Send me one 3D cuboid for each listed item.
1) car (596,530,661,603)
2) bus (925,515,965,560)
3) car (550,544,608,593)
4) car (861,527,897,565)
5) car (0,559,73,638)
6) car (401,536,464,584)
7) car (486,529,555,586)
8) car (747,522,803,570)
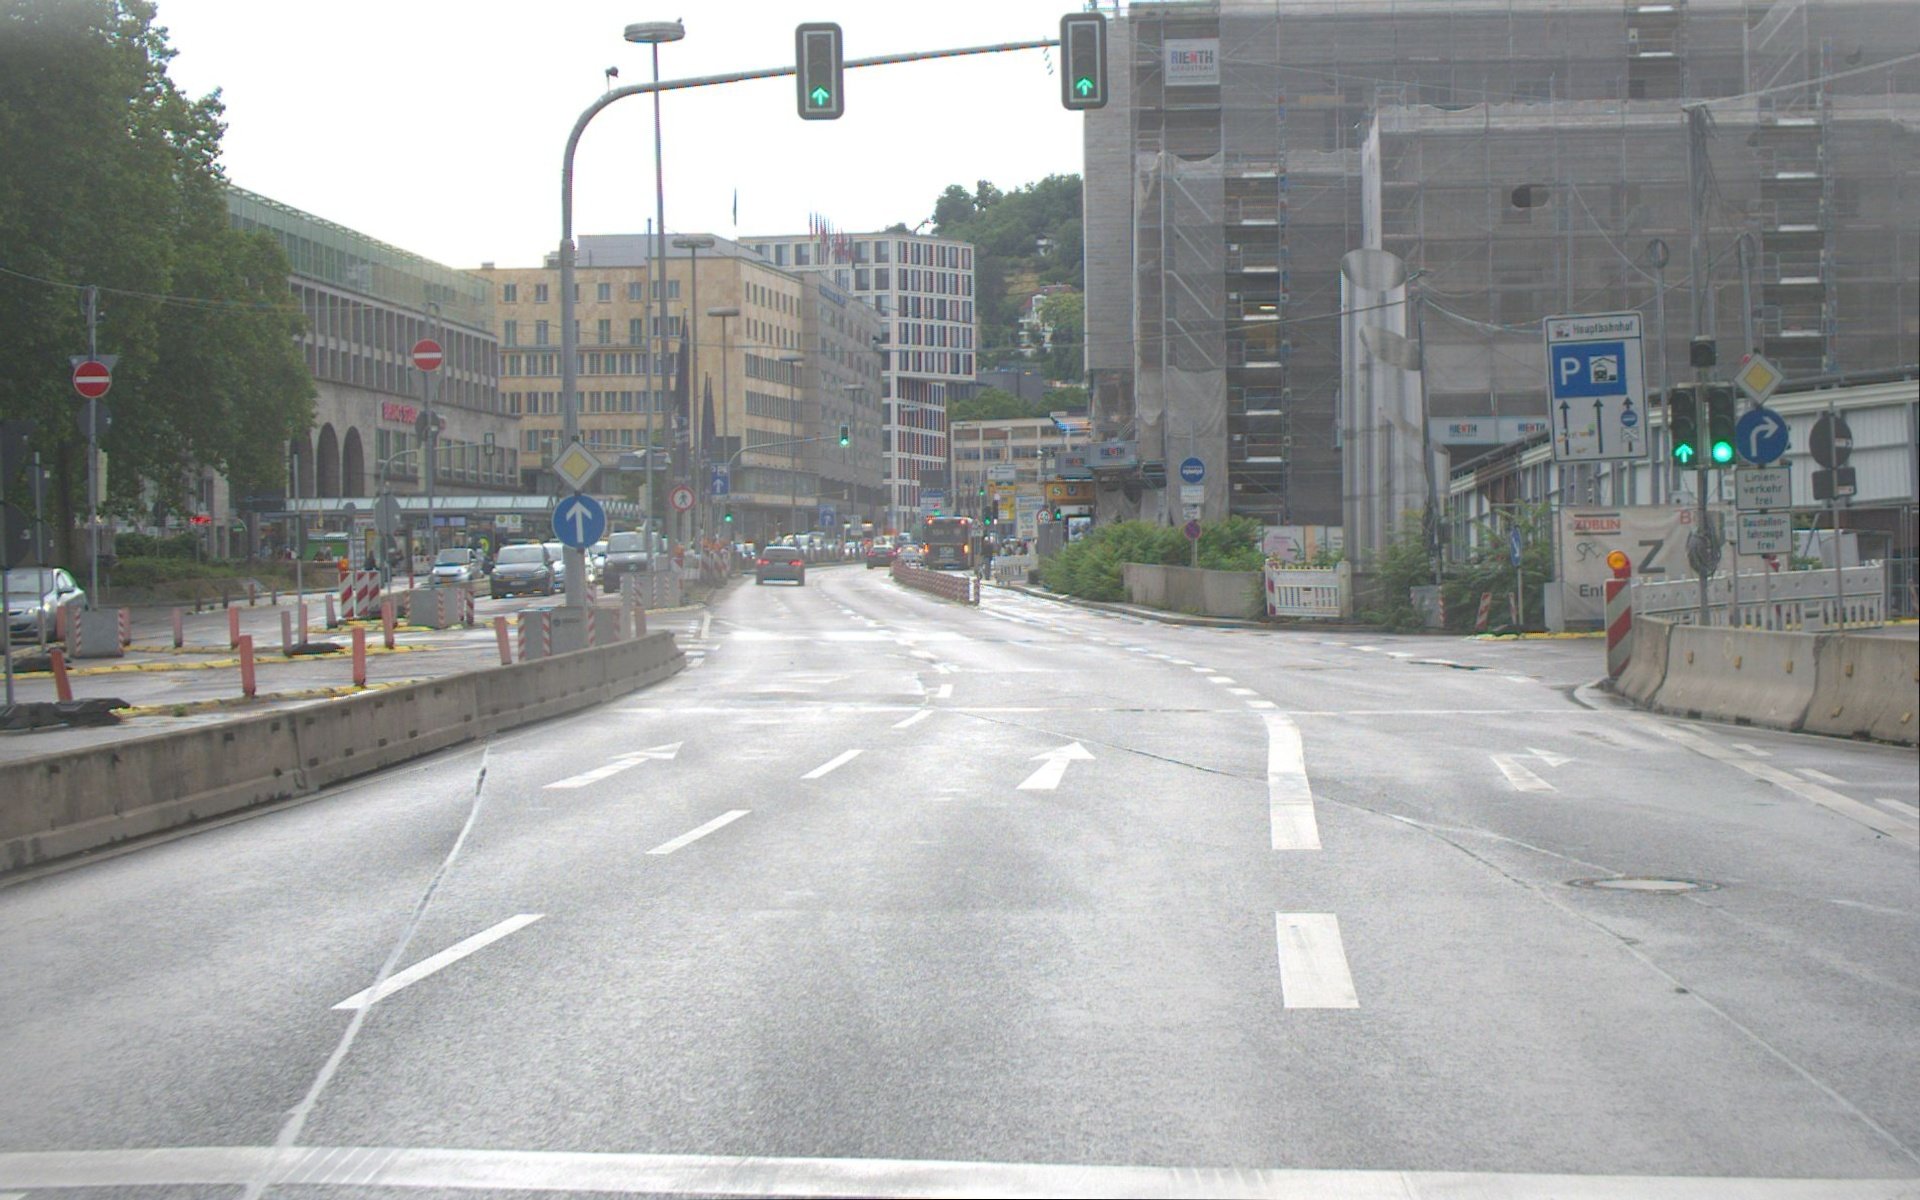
[{"bbox_3d":[-10.323,-1.030,107.279,1.901,2.075,4.177,-2,-1,-5],"label":"car"},{"bbox_3d":[-0.851,-3.648,200.918,1.994,2.423,3.999,-3,-1,3],"label":"bus"},{"bbox_3d":[-13.484,-1.087,121.914,1.901,1.523,4.177,-2,-1,-5],"label":"car"},{"bbox_3d":[-4.683,-3.117,199.742,1.993,2.007,4.000,-2,-1,-1],"label":"car"},{"bbox_3d":[-18.446,-0.024,67.033,1.765,1.458,4.178,-3,1,-9],"label":"car"},{"bbox_3d":[-18.912,-1.418,123.309,1.901,1.523,4.177,-2,-1,-5],"label":"car"},{"bbox_3d":[-13.643,-1.305,106.884,1.901,1.523,4.177,-2,-1,-5],"label":"car"},{"bbox_3d":[-6.900,-2.000,128.102,1.901,1.523,4.177,-2,-1,-5],"label":"car"}]
